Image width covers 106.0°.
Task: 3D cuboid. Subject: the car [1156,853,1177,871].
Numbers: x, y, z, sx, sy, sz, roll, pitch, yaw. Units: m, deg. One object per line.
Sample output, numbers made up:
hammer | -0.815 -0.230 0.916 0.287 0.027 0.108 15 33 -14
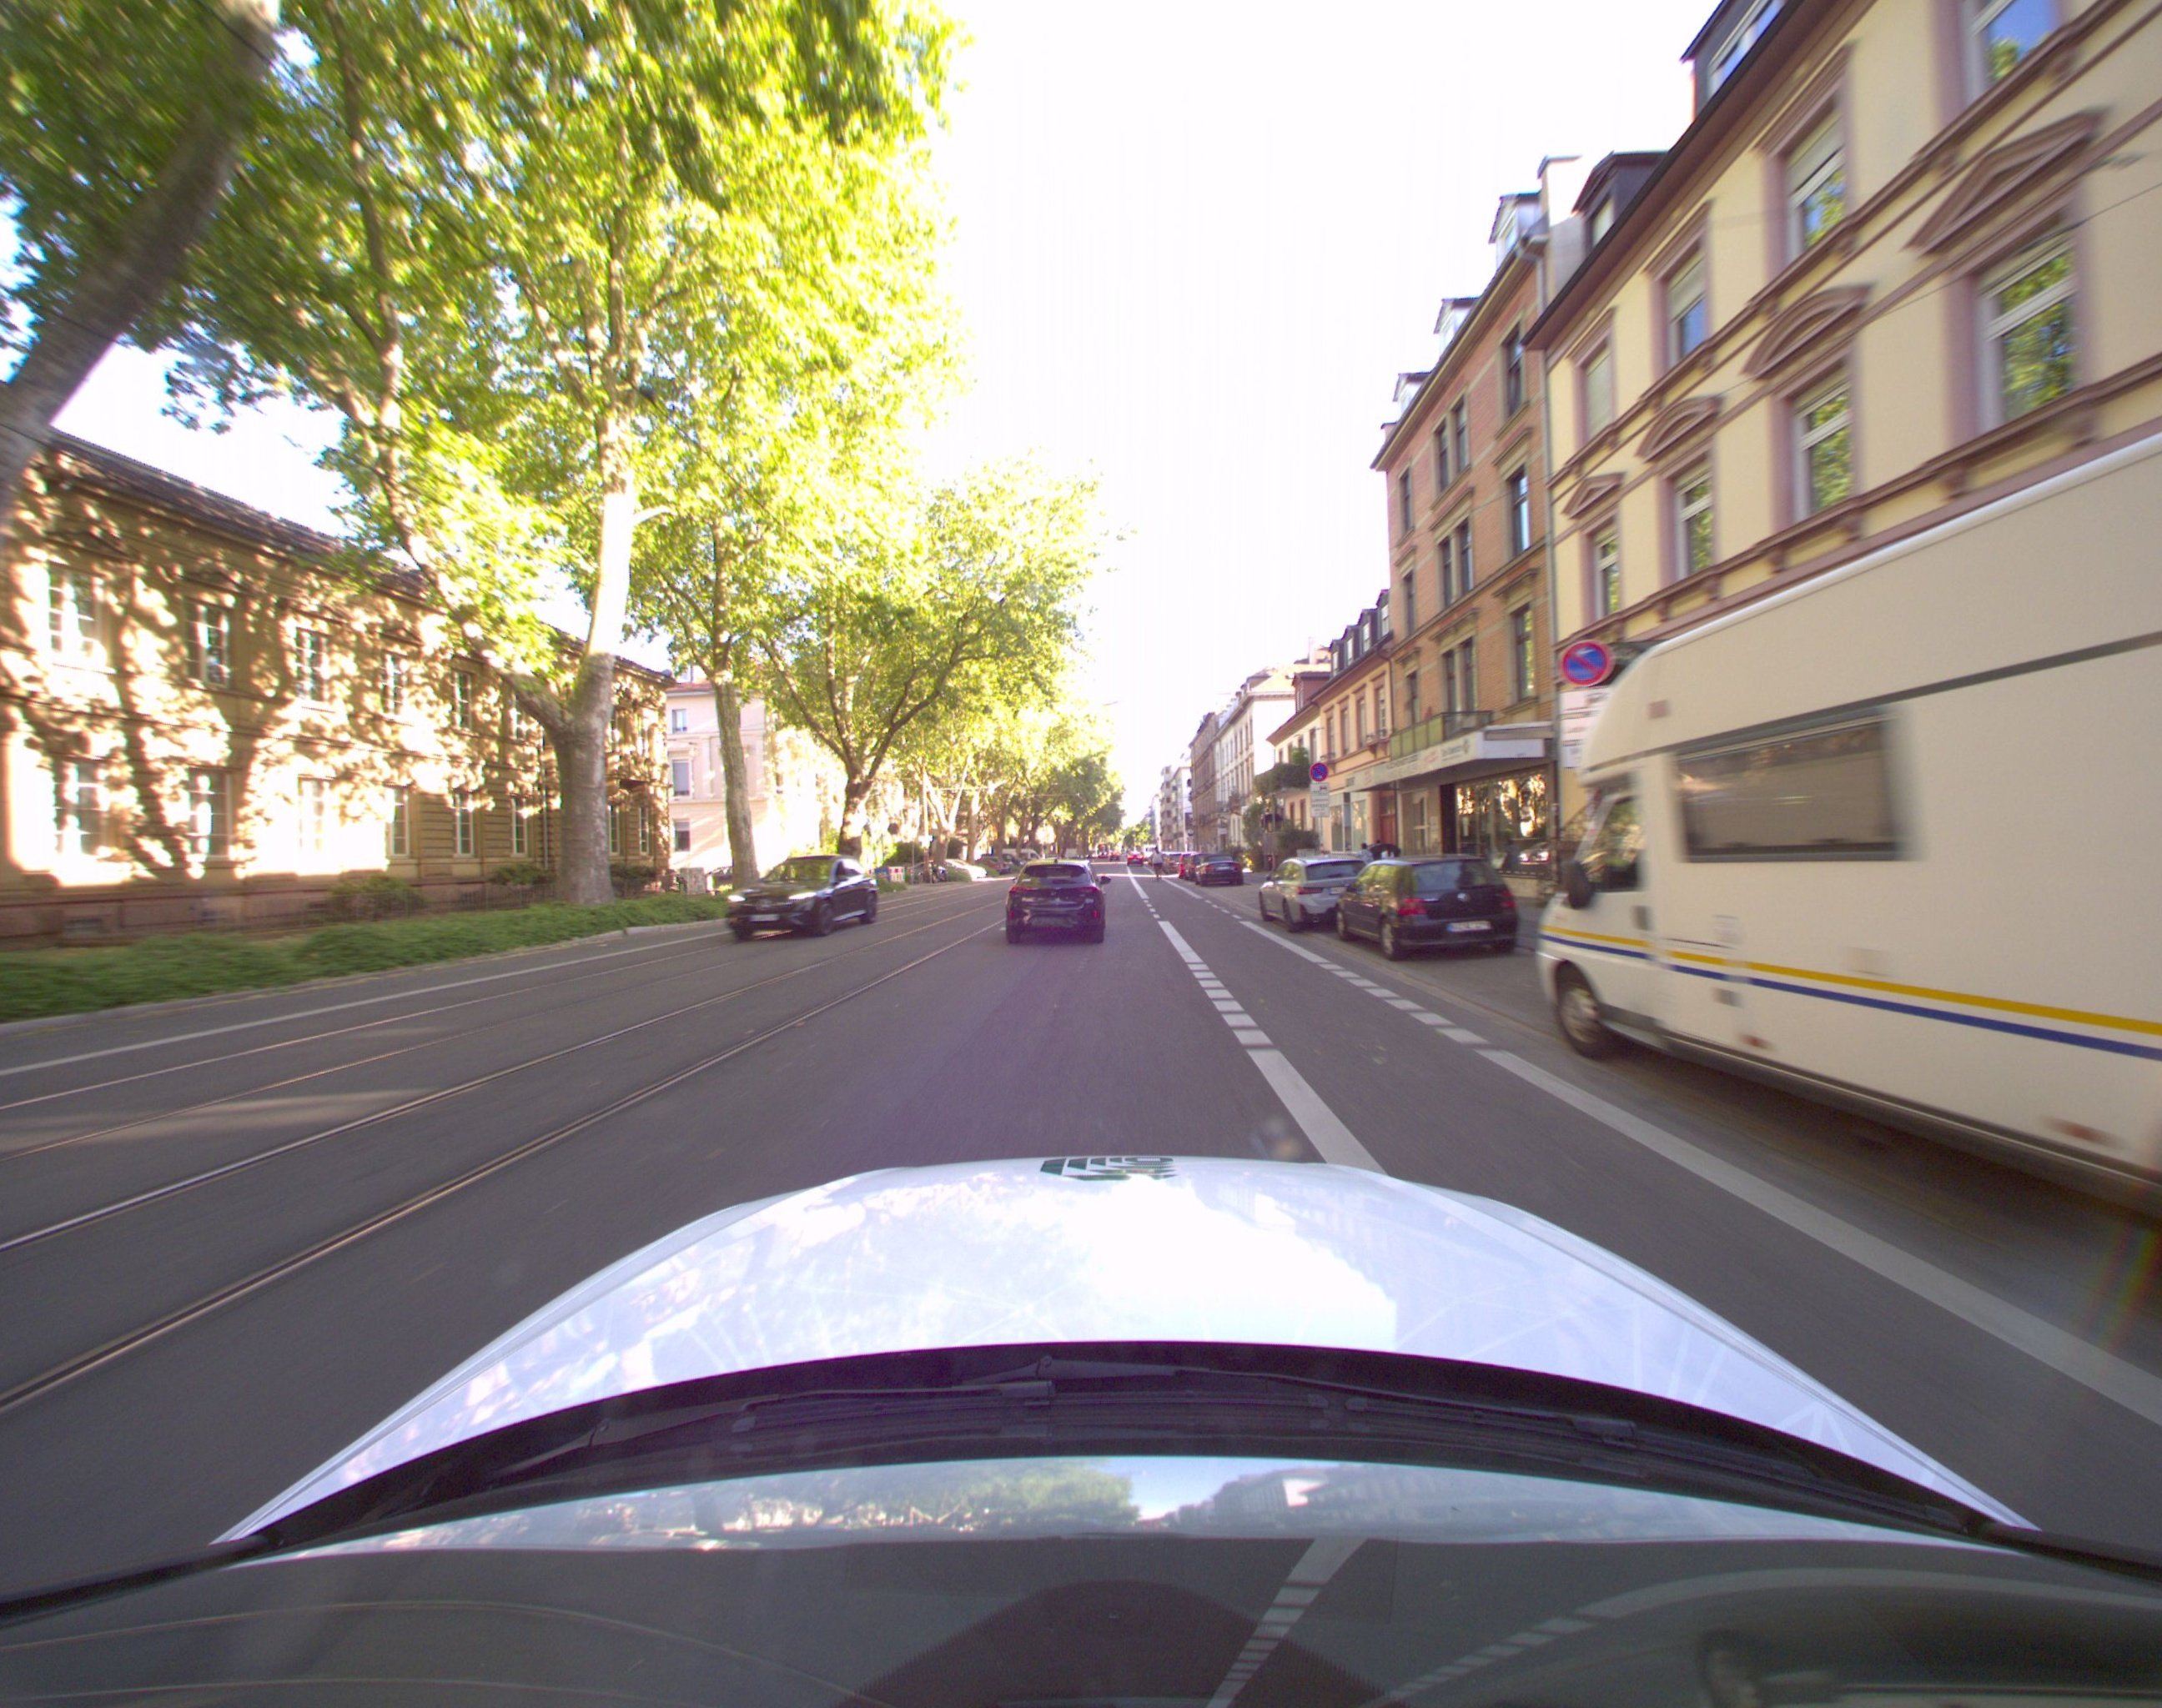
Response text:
car | 7.834 0.767 74.932 1.703 1.483 3.768 -5 -1 4

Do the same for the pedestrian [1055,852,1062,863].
pedestrian | -3.278 0.557 118.155 0.769 1.567 0.676 -1 -1 -21

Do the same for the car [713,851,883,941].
car | -5.913 0.779 17.681 1.859 1.629 4.563 -2 0 3

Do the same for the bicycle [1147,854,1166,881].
bicycle | 4.122 0.736 44.418 0.857 1.407 2.525 -1 0 2

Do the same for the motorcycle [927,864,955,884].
motorcycle | -8.598 1.222 50.198 0.879 1.147 2.398 -1 0 11

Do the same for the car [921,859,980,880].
car | -9.375 1.100 58.624 3.905 1.453 1.801 -1 -1 2

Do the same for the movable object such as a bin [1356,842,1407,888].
movable object such as a bin | 10.263 0.379 27.869 1.288 1.520 1.287 -1 -1 3

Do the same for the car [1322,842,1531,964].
car | 5.009 0.639 12.446 1.637 1.434 4.033 -5 -1 4

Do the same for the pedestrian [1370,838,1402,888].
pedestrian | 9.239 0.263 24.680 0.655 1.483 0.786 -1 -1 2

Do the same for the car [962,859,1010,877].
car | -8.384 1.247 72.253 3.978 1.627 1.880 0 -1 2

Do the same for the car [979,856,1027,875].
car | -8.036 1.187 84.016 4.654 1.924 1.982 0 -1 4

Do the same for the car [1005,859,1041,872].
car | -6.675 1.334 93.429 3.902 1.498 1.679 0 -1 4

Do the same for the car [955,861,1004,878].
car | -8.707 1.303 70.061 3.903 1.442 1.750 0 -1 3

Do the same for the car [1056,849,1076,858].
car | -2.873 -0.092 160.532 3.907 1.790 1.677 0 -1 0

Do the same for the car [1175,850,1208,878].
car | 6.532 0.596 48.399 1.627 1.546 3.580 -3 -1 4

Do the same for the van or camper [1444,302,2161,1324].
van or camper | 4.474 -0.156 3.647 2.466 2.972 7.893 -5 -1 4

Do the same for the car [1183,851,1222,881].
car | 6.469 0.618 43.648 1.644 1.456 3.871 -3 -1 3

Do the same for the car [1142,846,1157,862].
car | 10.609 -0.025 126.307 2.066 2.219 4.939 -5 -1 4

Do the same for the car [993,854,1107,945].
car | -0.456 0.757 15.197 1.786 1.441 3.534 -1 0 3

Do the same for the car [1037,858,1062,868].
car | -5.088 1.418 130.085 3.907 1.498 1.677 0 -1 0

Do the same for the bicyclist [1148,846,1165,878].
bicyclist | 4.118 0.433 44.459 0.845 1.740 1.162 -1 -1 2

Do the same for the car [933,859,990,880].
car | -8.999 1.139 61.464 3.903 1.462 1.807 -2 -1 3

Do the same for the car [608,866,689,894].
car | -25.736 1.530 48.529 3.903 1.418 1.696 -2 1 3

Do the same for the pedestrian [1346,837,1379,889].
pedestrian | 8.535 0.269 24.714 0.657 1.505 0.866 -3 -1 2

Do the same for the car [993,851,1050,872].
car | -7.202 0.910 99.180 6.600 2.409 2.460 0 -1 3

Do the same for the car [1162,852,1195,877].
car | 7.108 0.763 59.629 1.874 1.586 3.932 -5 -1 0

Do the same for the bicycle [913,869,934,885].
bicycle | -9.687 1.398 50.256 0.537 0.940 2.040 -1 0 11

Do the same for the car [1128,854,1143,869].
car | 6.533 0.901 97.427 1.801 1.742 3.937 -2 0 4

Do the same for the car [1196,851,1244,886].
car | 6.150 0.607 36.446 1.686 1.392 4.499 -3 -1 4

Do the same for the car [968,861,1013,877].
car | -8.261 1.333 74.656 3.906 1.421 1.819 0 -1 1

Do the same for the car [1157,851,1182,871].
car | 7.479 0.607 69.030 1.872 1.456 4.030 -5 -1 4

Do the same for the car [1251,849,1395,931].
car | 4.932 0.679 17.295 1.802 1.435 4.668 -3 -1 3

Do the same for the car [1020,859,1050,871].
car | -6.108 1.396 108.237 3.907 1.577 1.677 0 -1 0

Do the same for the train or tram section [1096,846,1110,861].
train or tram section | 5.429 -0.061 202.399 2.722 3.682 12.730 -2 0 4

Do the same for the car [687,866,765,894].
car | -21.004 1.535 48.248 3.760 1.418 1.696 -2 2 3

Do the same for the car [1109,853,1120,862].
car | 5.560 0.601 136.014 1.802 1.338 3.935 -1 0 2

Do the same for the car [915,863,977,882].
car | -9.275 1.258 56.086 3.903 1.332 1.849 0 -1 3
